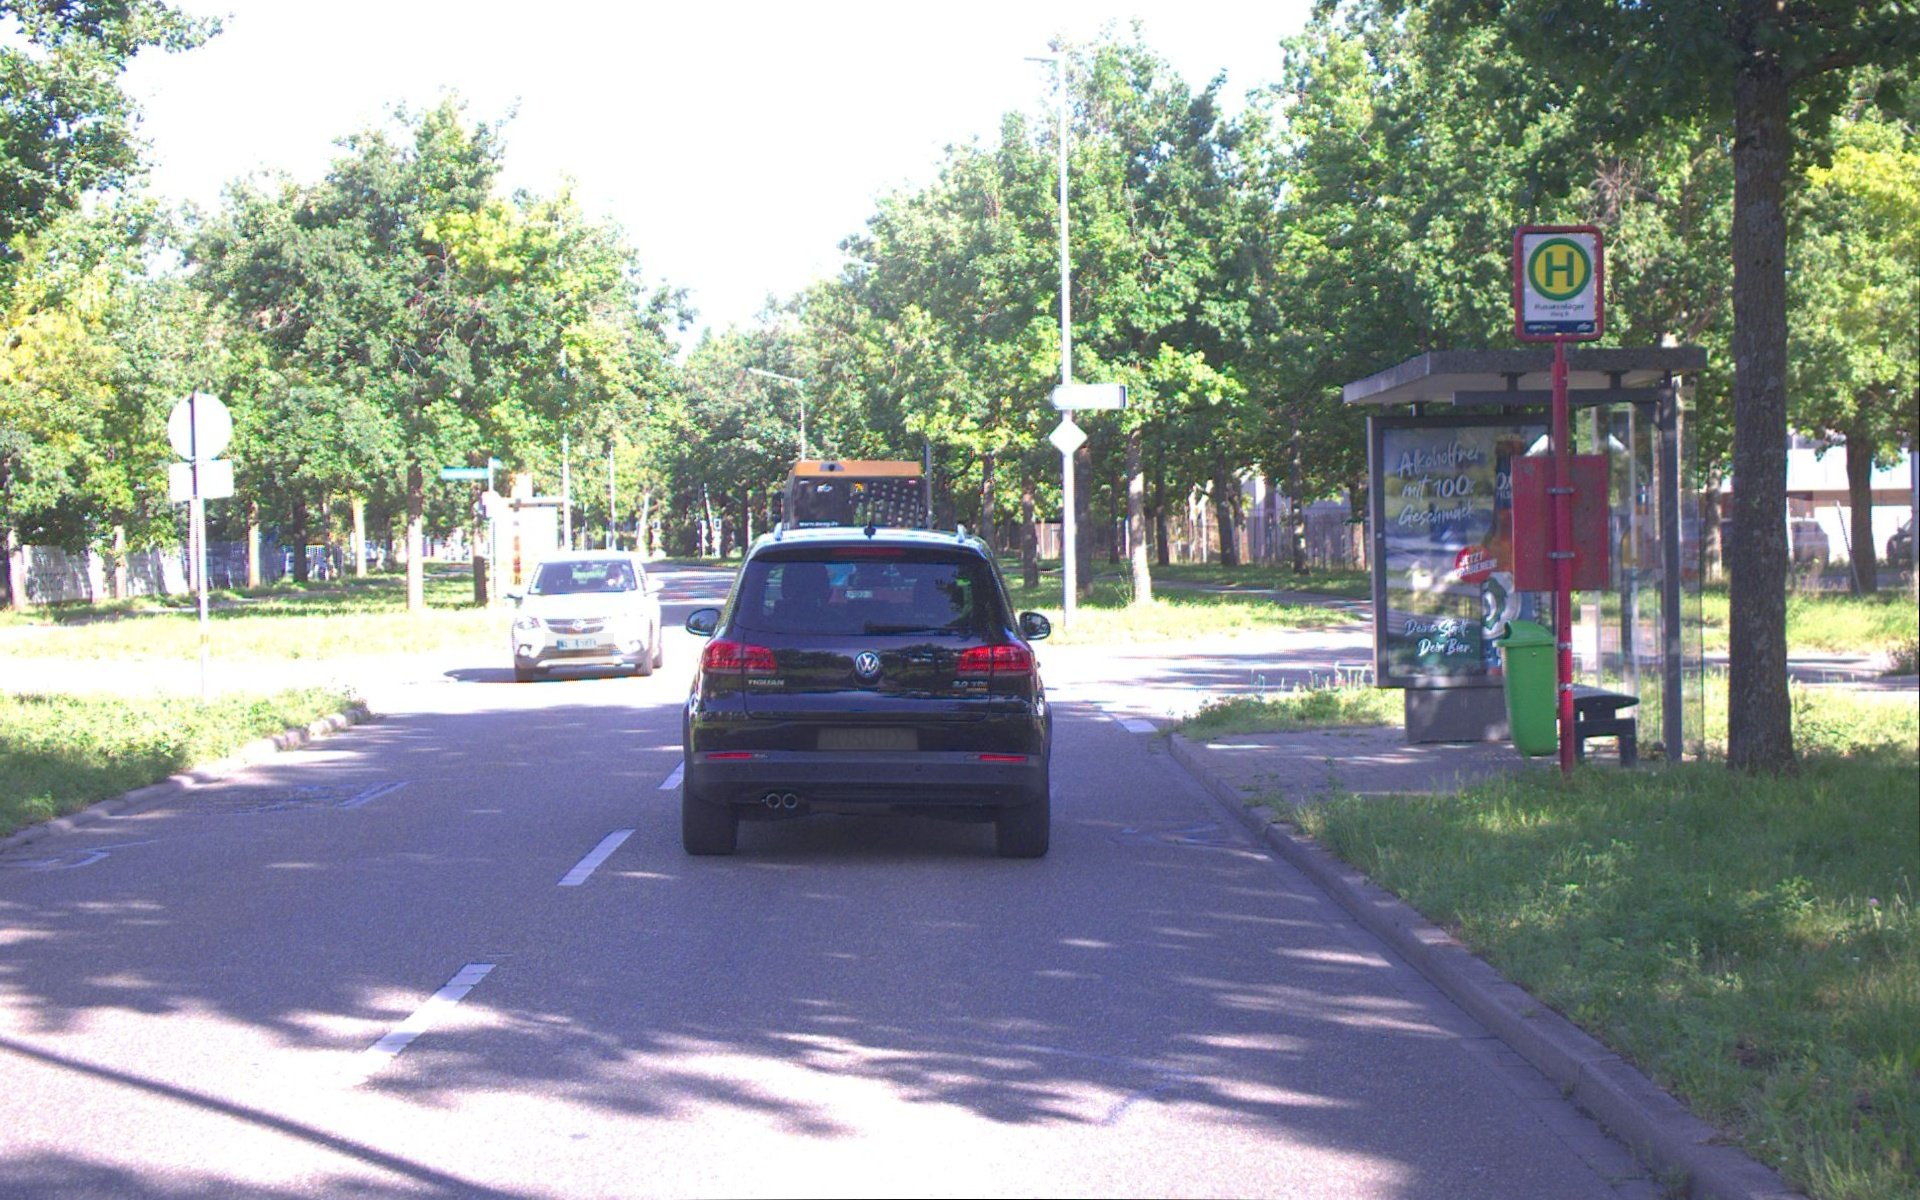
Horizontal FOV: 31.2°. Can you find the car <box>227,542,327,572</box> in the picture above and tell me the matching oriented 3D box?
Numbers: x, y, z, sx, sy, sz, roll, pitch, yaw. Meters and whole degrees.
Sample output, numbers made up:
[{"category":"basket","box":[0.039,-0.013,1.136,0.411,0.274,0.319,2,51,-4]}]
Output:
[{"category":"car","box":[-31.568,-1.986,159.054,4.198,1.317,1.941,-1,1,1]}]

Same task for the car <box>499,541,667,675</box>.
[{"category":"car","box":[-4.505,0.051,41.542,1.744,1.460,4.428,-2,1,-3]}]

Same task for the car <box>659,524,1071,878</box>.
[{"category":"car","box":[-0.463,0.431,18.496,1.936,1.650,4.427,1,1,0]}]

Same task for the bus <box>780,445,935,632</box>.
[{"category":"bus","box":[-2.211,-1.275,69.949,2.764,3.444,11.212,-1,1,-3]}]
